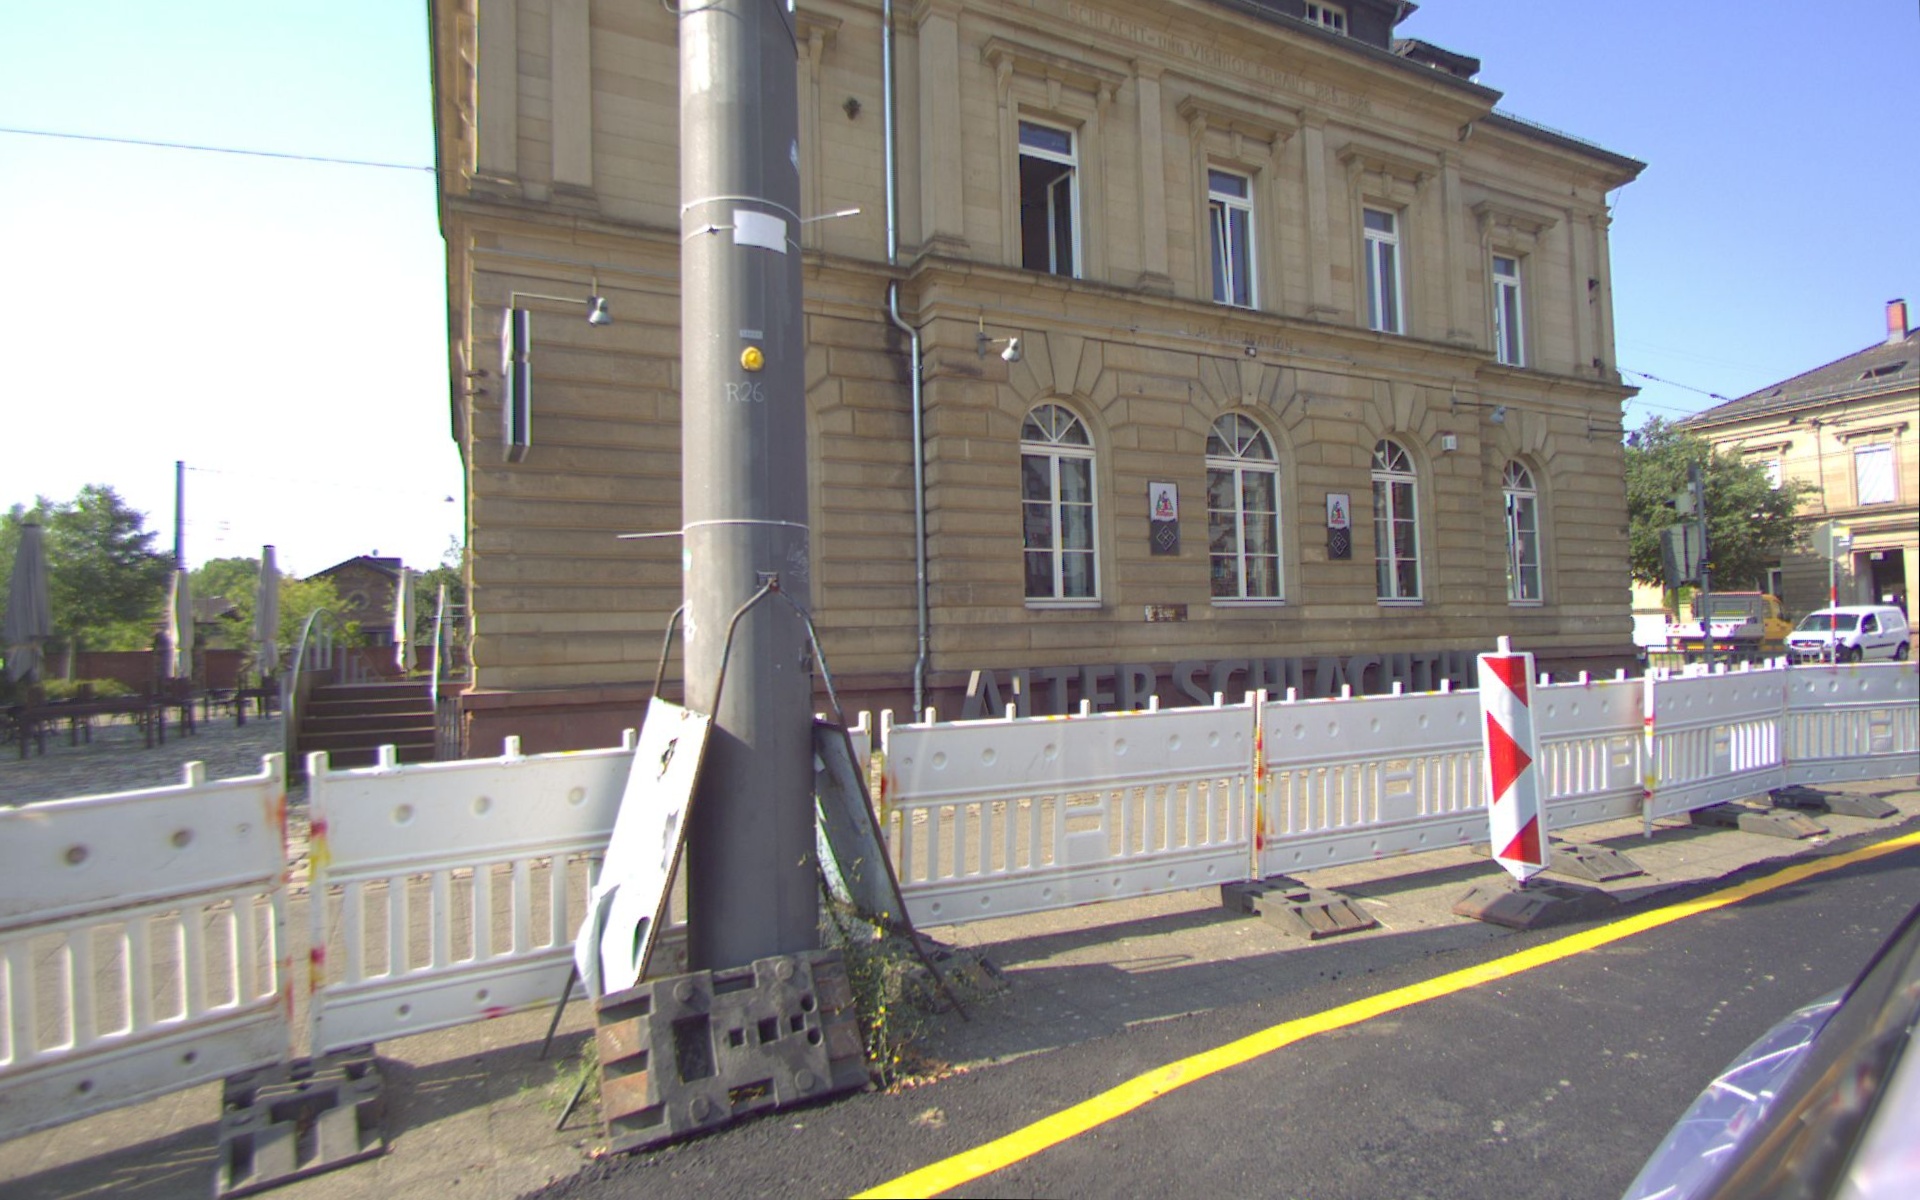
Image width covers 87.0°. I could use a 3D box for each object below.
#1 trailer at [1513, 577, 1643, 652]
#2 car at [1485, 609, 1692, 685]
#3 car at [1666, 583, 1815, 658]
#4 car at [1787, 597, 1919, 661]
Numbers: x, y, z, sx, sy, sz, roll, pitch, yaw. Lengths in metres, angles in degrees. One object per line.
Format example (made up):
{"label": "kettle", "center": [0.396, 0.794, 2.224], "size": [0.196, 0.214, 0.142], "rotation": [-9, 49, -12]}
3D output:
{"label": "trailer", "center": [27.304, 0.679, 44.824], "size": [2.466, 3.088, 4.120], "rotation": [-1, -3, -33]}
{"label": "car", "center": [15.308, 1.066, 24.813], "size": [1.635, 1.555, 4.008], "rotation": [-2, 2, -39]}
{"label": "car", "center": [27.297, 0.685, 35.348], "size": [5.380, 2.454, 2.266], "rotation": [0, -2, -31]}
{"label": "car", "center": [27.605, 0.840, 31.155], "size": [4.140, 1.806, 1.912], "rotation": [-1, 0, -29]}
